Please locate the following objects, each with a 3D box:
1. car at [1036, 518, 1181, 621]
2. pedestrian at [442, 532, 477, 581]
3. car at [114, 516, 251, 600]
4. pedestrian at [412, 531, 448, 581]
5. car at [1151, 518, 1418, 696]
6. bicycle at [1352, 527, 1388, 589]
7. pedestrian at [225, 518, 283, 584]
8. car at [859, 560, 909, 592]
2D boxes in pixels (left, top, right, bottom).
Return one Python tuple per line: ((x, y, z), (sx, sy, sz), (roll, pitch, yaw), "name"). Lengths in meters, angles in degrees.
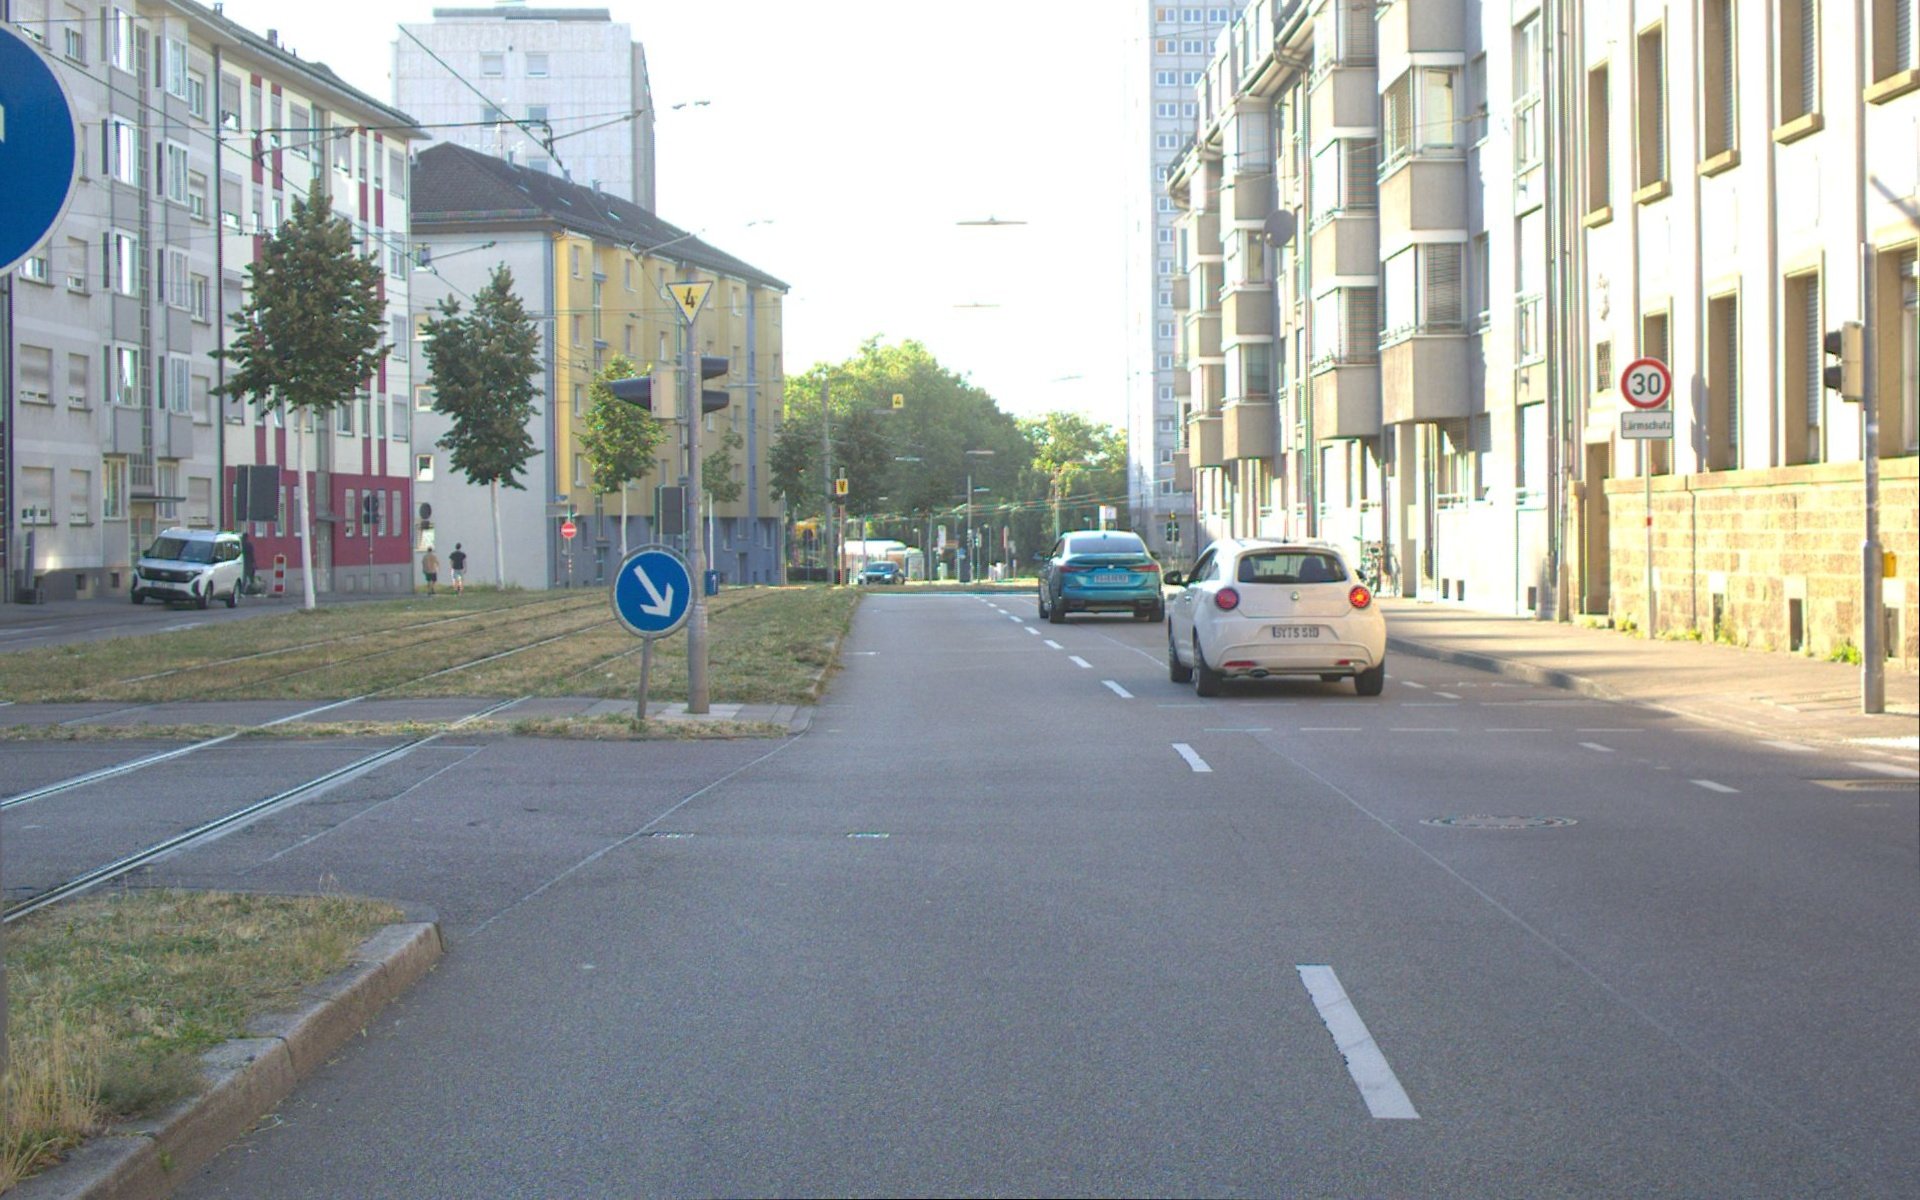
((2.326, -0.491, 54.937), (1.993, 1.549, 4.394), (1, 1, -1), "car")
((-17.159, -1.476, 117.861), (0.962, 1.664, 1.011), (1, 0, 5), "pedestrian")
((-18.410, -0.994, 81.606), (1.994, 1.918, 4.541), (1, 1, 3), "car")
((-18.069, -1.500, 117.188), (0.962, 1.688, 1.011), (1, 0, 5), "pedestrian")
((2.996, 0.026, 32.568), (1.993, 1.558, 4.001), (1, 1, -2), "car")
((7.364, -0.752, 61.820), (0.383, 1.092, 1.504), (-1, 1, -3), "bicycle")
((-19.057, -1.329, 92.828), (1.269, 1.755, 1.274), (1, 0, 0), "pedestrian")
((-4.026, -1.280, 182.456), (1.898, 1.628, 4.746), (-1, 1, 8), "car")
